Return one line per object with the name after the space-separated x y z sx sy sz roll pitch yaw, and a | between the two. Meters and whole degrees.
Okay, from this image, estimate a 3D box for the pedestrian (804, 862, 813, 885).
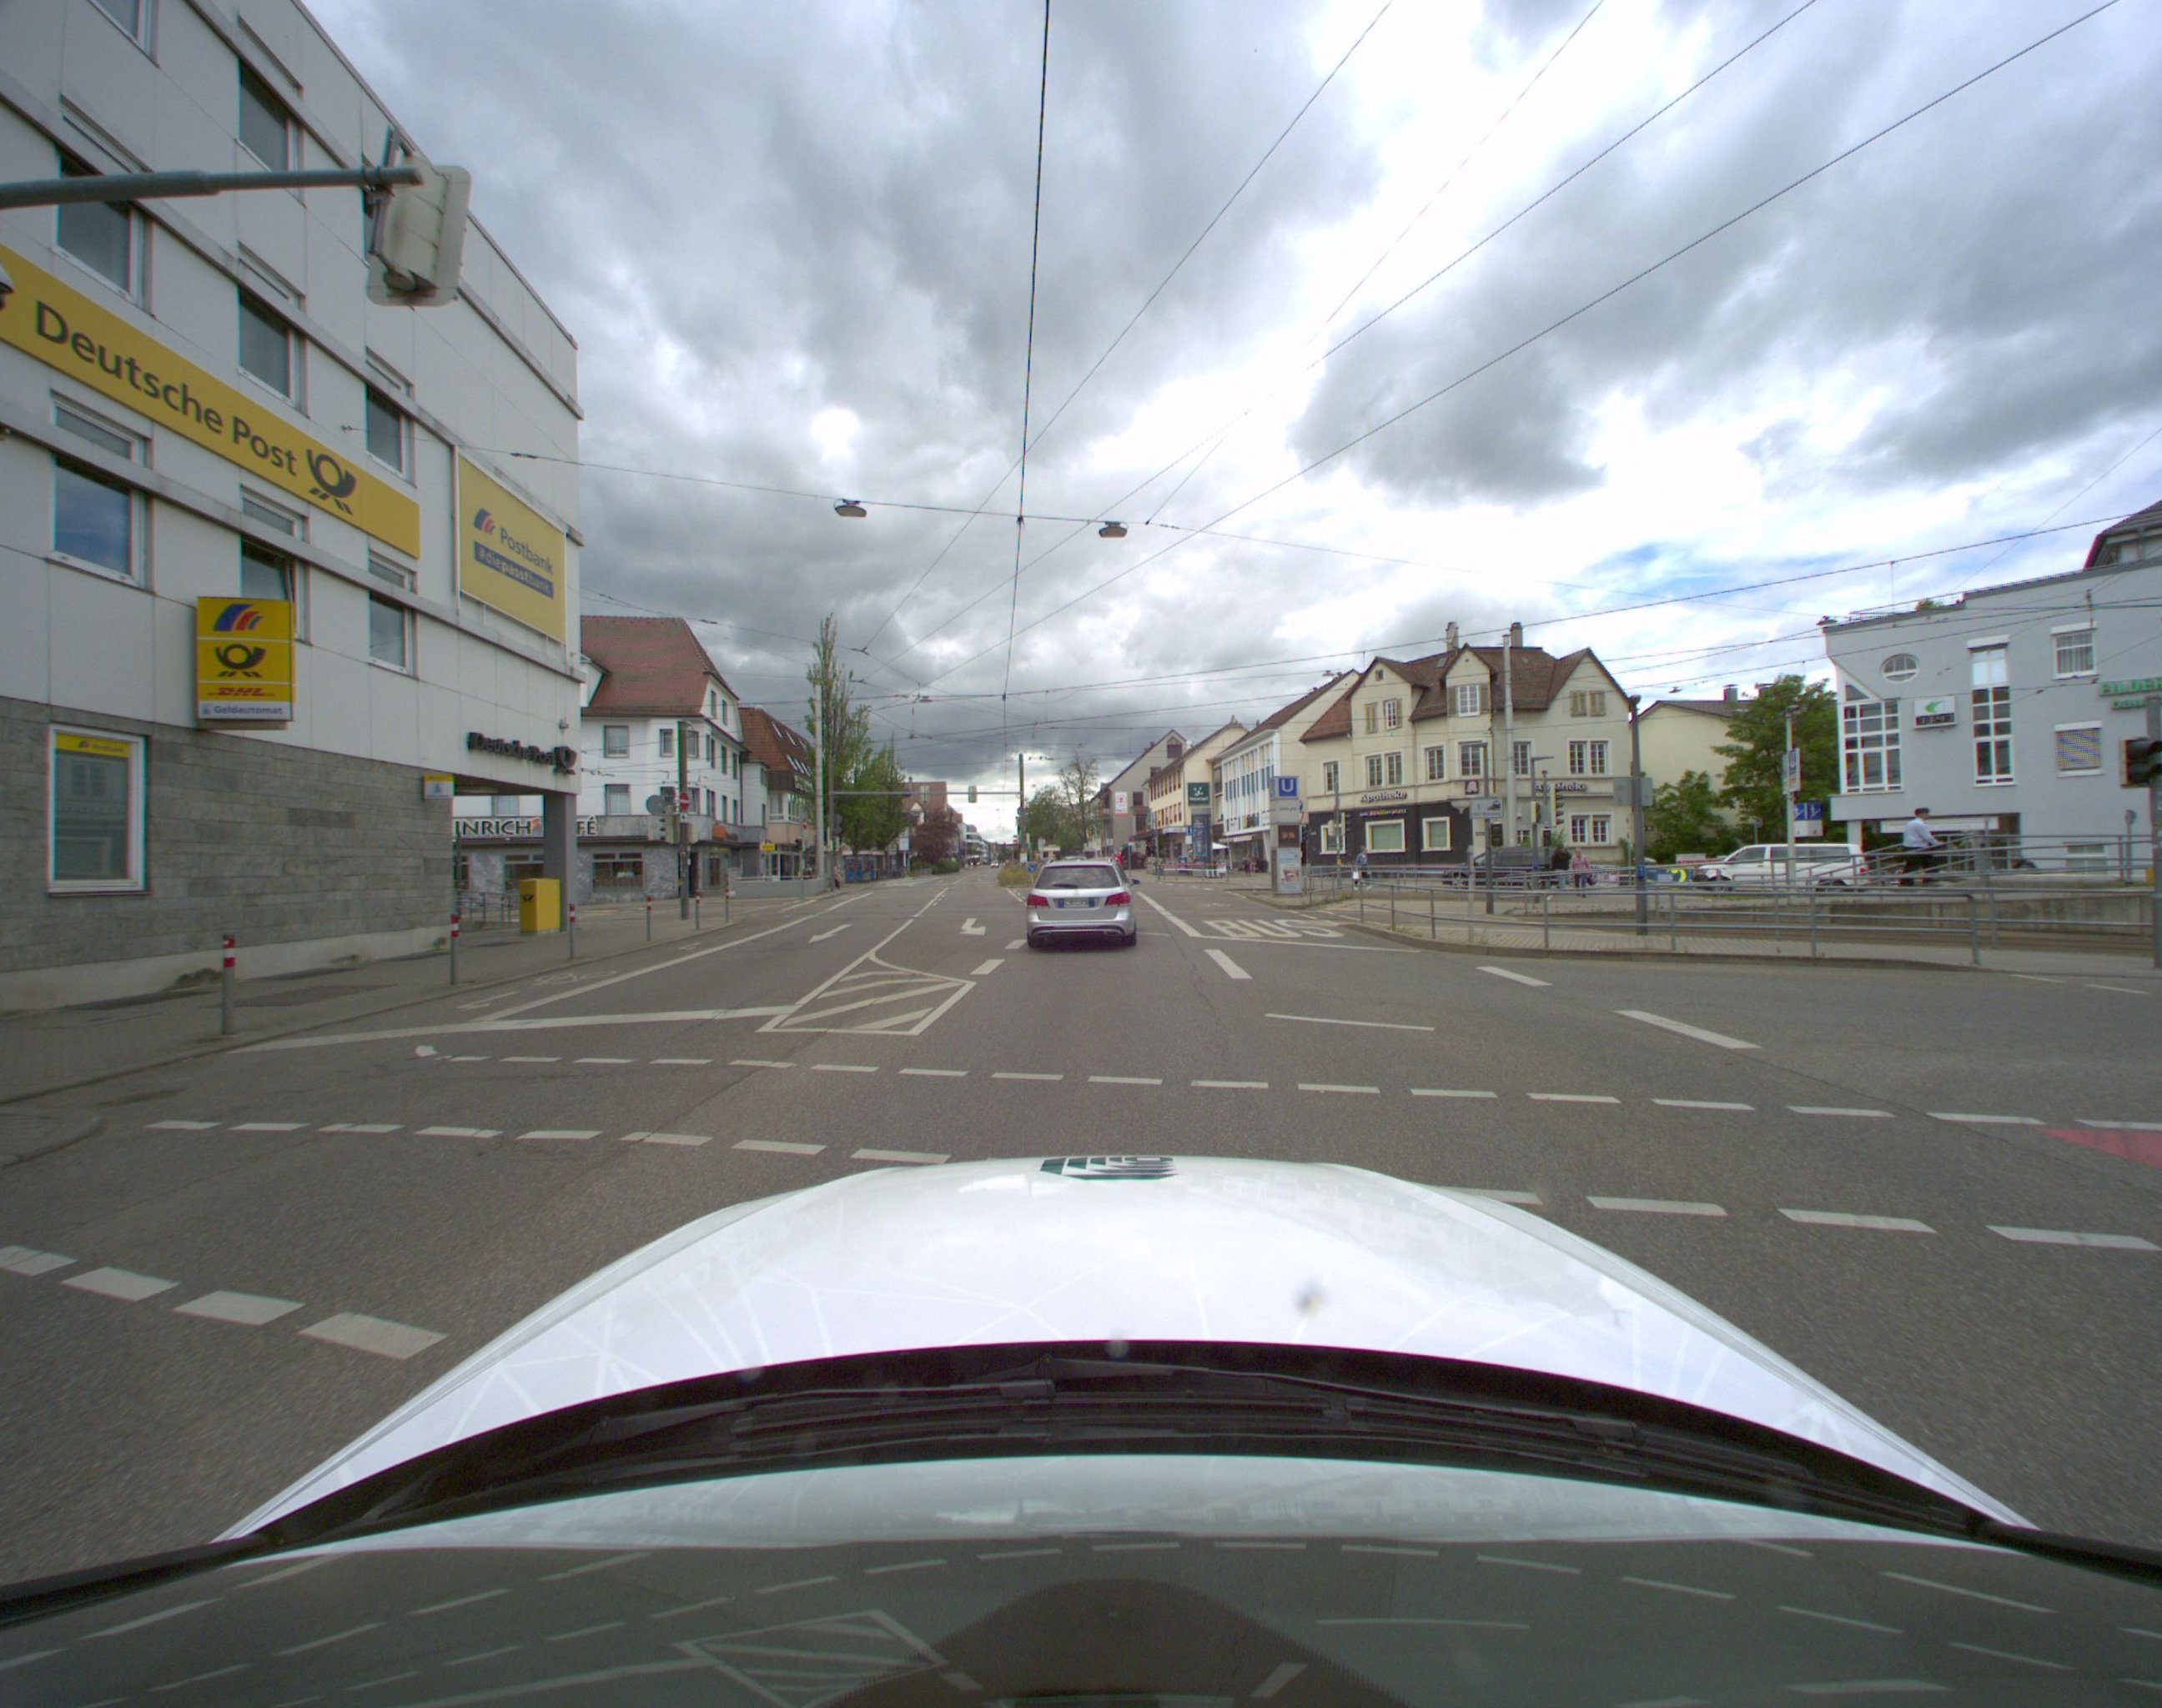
-22.711 1.613 67.927 0.644 1.836 0.576 -1 -1 -20 | pedestrian

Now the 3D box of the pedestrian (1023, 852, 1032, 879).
-3.571 0.781 54.299 0.533 1.763 0.578 -1 -1 -8 | pedestrian

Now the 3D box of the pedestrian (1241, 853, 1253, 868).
13.008 0.530 63.718 0.736 1.164 0.641 0 -1 -8 | pedestrian

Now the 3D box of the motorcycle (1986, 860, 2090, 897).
28.830 0.721 24.581 0.768 1.073 1.956 1 -2 -45 | motorcycle

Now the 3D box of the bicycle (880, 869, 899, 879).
-19.411 2.003 82.571 1.941 1.029 0.527 0 -1 -16 | bicycle

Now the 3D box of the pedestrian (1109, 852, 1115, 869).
3.033 0.599 79.352 0.576 1.666 0.651 0 -1 0 | pedestrian

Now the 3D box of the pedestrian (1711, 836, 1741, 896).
19.016 0.347 24.012 0.641 1.718 0.794 0 0 41 | pedestrian

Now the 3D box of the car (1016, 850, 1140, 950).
0.101 0.718 14.725 1.837 1.508 4.176 -2 0 4 | car

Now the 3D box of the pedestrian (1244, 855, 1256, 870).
12.636 0.633 60.980 0.736 1.164 0.641 0 -1 -8 | pedestrian

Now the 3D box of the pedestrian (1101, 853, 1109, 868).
2.284 0.603 77.996 0.578 1.435 0.648 0 -1 -12 | pedestrian

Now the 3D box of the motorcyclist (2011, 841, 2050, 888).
28.749 0.336 24.674 0.684 1.394 0.768 -2 -2 45 | motorcyclist

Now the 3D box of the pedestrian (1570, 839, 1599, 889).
17.576 0.329 28.435 0.779 1.718 0.653 0 0 25 | pedestrian

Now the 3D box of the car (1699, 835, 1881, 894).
25.051 0.399 28.892 2.001 1.919 4.724 1 -2 -45 | car

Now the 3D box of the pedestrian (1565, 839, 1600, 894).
15.842 0.389 25.729 0.781 1.718 0.652 0 0 12 | pedestrian

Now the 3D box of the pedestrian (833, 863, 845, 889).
-15.139 1.349 50.949 0.635 1.606 0.700 -1 -1 -19 | pedestrian

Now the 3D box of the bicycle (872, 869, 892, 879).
-19.684 1.985 80.544 1.941 1.029 0.527 0 -1 -16 | bicycle

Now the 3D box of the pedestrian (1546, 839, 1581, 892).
16.010 0.375 27.039 0.700 1.718 0.649 -2 -1 -2 | pedestrian

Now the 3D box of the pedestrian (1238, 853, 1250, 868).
12.906 0.538 64.359 0.736 1.164 0.641 0 -1 -8 | pedestrian

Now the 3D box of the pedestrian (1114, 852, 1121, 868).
3.439 0.550 75.803 0.577 1.469 0.650 0 -1 -4 | pedestrian

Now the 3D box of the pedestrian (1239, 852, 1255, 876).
11.356 0.674 55.789 0.644 1.591 0.890 0 -1 -26 | pedestrian

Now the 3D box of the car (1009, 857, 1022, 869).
-11.581 1.535 144.125 1.992 2.014 3.990 -1 0 -7 | car

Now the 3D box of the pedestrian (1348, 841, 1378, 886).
11.245 0.375 32.514 0.841 1.718 0.725 -2 0 -9 | pedestrian

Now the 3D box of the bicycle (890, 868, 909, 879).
-18.810 2.017 84.401 1.941 1.029 0.527 0 -1 -16 | bicycle

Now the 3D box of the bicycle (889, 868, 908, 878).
-19.106 2.029 85.346 1.941 1.029 0.527 0 -1 -16 | bicycle

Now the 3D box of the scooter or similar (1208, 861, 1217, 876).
8.988 0.990 55.694 0.271 1.001 1.026 -1 -1 -9 | scooter or similar

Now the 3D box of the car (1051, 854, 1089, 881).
-0.696 0.775 48.499 1.733 1.508 3.989 -2 0 -8 | car

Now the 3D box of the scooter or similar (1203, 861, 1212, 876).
8.629 0.990 55.618 0.271 1.001 1.026 -1 -1 -9 | scooter or similar

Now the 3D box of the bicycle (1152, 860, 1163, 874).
5.890 0.993 62.609 0.447 1.107 2.145 -1 0 -5 | bicycle

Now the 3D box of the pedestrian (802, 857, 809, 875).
-25.008 1.091 73.836 0.579 1.606 0.640 -1 -1 -19 | pedestrian

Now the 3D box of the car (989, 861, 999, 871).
-19.686 2.717 184.040 1.992 2.014 3.990 -1 0 -7 | car

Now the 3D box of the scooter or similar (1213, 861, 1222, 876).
9.347 0.984 55.764 0.271 1.001 1.026 -1 -1 -9 | scooter or similar

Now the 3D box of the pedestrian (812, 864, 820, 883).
-22.488 1.624 69.143 0.579 1.606 0.640 -1 -1 -19 | pedestrian

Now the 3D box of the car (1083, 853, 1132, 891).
1.162 0.714 33.967 1.725 1.508 4.007 -1 0 6 | car

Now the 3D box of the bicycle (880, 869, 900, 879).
-19.226 1.996 81.996 1.941 1.029 0.527 0 -1 -16 | bicycle

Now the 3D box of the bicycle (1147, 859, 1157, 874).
5.443 0.953 62.562 0.447 1.091 2.145 -1 0 -5 | bicycle

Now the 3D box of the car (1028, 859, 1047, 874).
-5.130 1.485 96.068 1.991 1.750 3.991 -1 0 -6 | car

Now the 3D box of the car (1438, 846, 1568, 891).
17.979 0.625 34.815 4.635 1.821 1.876 -1 -2 39 | car

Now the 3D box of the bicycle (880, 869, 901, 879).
-19.027 1.988 81.355 1.941 1.029 0.527 0 -1 -16 | bicycle

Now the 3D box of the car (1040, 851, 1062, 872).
-2.702 0.651 72.821 1.731 1.759 3.994 -2 0 -4 | car

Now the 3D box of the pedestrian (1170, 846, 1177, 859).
8.878 -0.109 78.472 0.533 1.218 0.578 0 -1 -8 | pedestrian

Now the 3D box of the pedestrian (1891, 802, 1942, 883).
18.337 -0.249 17.887 0.641 1.718 0.709 -2 -1 37 | pedestrian
